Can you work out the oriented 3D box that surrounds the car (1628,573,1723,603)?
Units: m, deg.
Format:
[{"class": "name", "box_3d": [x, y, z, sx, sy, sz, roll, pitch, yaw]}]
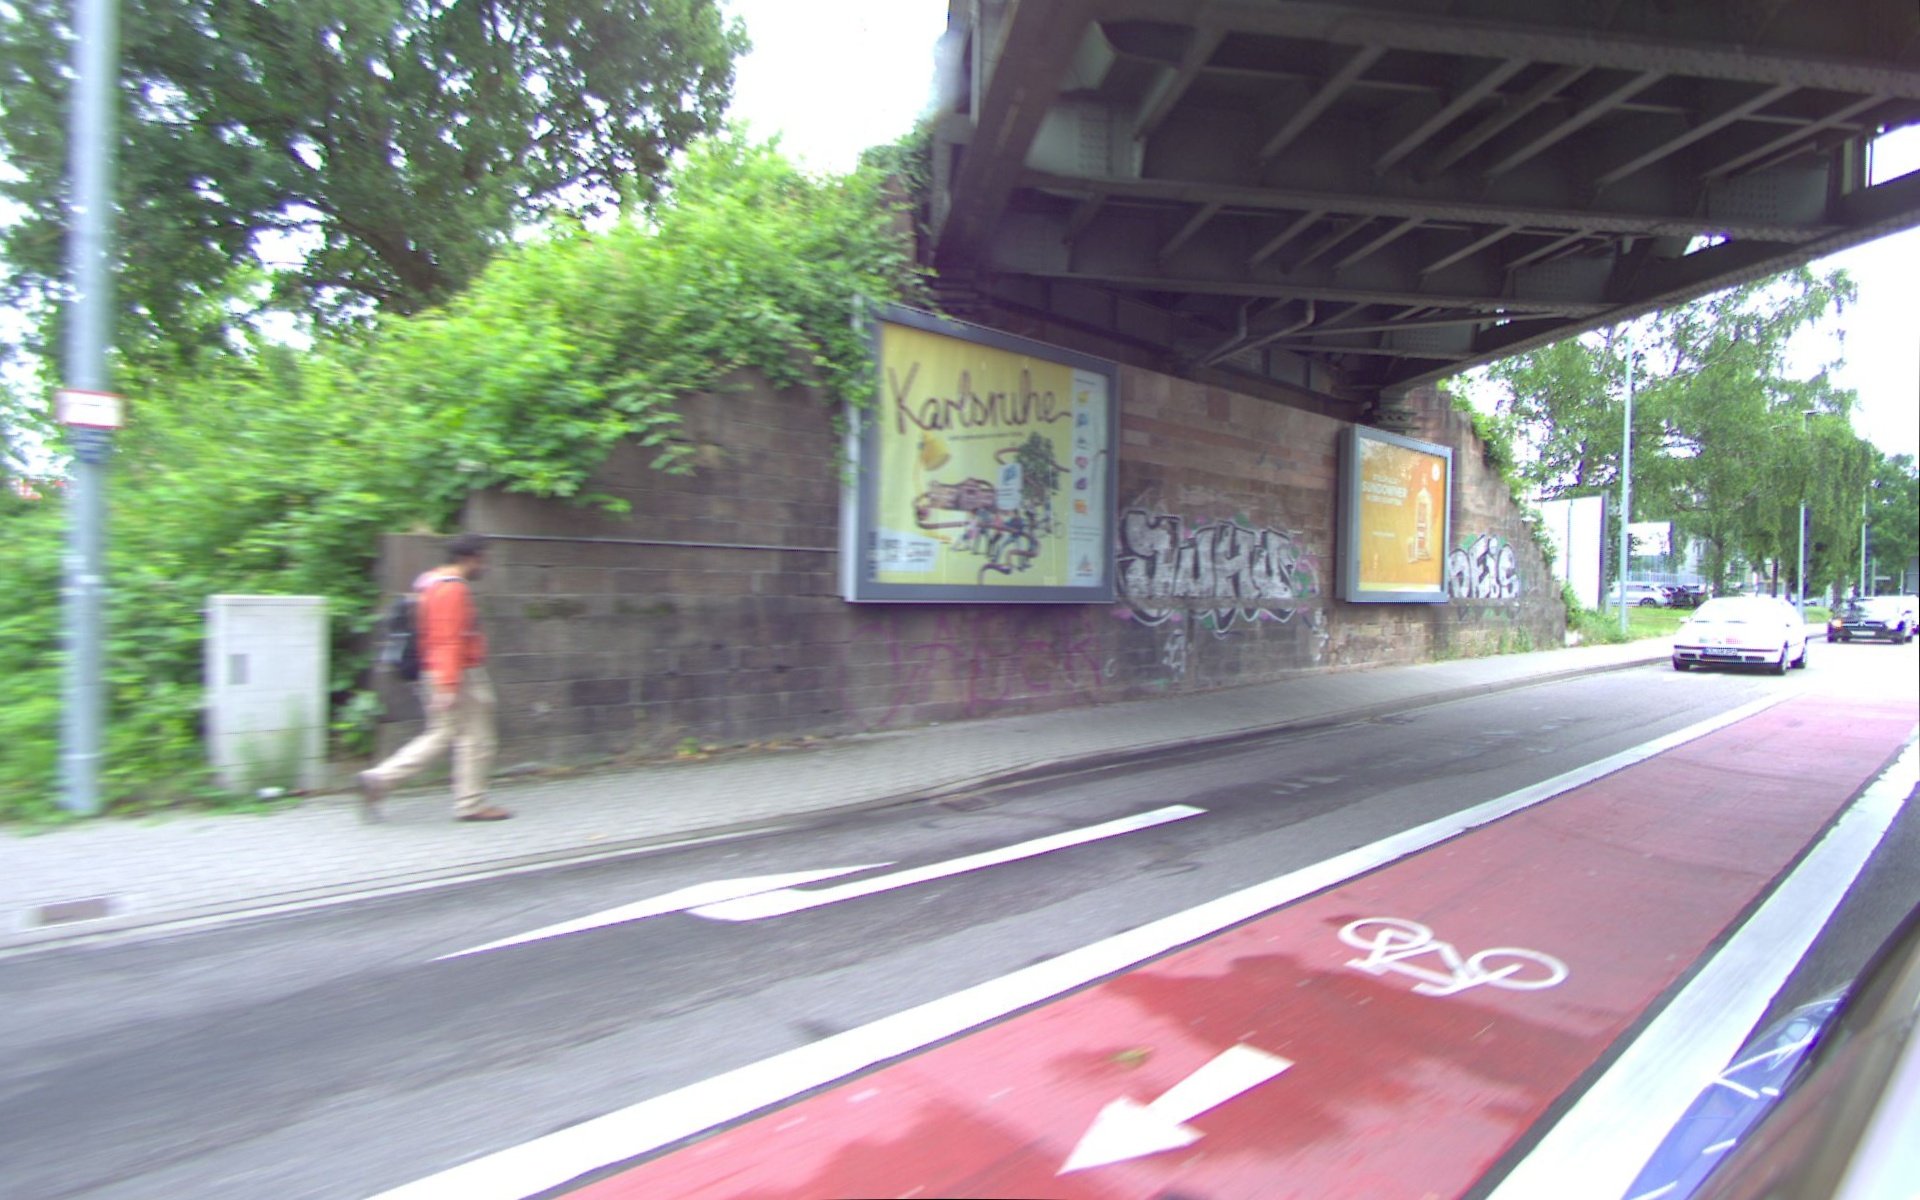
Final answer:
[{"class": "car", "box_3d": [43.001, -0.687, 60.890, 1.935, 1.622, 4.304, 0, -1, -41]}]

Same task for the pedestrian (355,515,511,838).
[{"class": "pedestrian", "box_3d": [-3.174, 0.413, 6.150, 0.771, 1.781, 0.876, 0, 1, -26]}]

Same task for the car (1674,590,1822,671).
[{"class": "car", "box_3d": [15.696, 0.542, 20.095, 3.874, 1.442, 1.724, 0, 0, -43]}]

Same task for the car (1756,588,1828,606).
[{"class": "car", "box_3d": [74.751, -0.270, 90.952, 1.869, 1.442, 4.756, 0, -1, -42]}]

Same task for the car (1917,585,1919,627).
[{"class": "car", "box_3d": [39.578, 0.263, 40.419, 1.782, 1.667, 3.940, 2, 2, 42]}]

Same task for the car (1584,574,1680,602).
[{"class": "car", "box_3d": [37.731, -0.672, 56.912, 4.296, 1.508, 1.713, 1, 0, 43]}]

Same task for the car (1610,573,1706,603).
[{"class": "car", "box_3d": [40.913, -0.694, 59.388, 1.937, 1.622, 4.299, 0, -1, -44]}]

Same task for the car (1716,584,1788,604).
[{"class": "car", "box_3d": [62.012, -0.435, 79.297, 1.709, 1.450, 4.193, 0, -1, -42]}]

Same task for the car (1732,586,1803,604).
[{"class": "car", "box_3d": [65.582, -0.374, 82.227, 1.709, 1.375, 4.302, 0, -1, -42]}]

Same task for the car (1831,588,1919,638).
[{"class": "car", "box_3d": [28.681, 0.371, 31.586, 3.932, 1.442, 1.834, 0, 0, -43]}]
